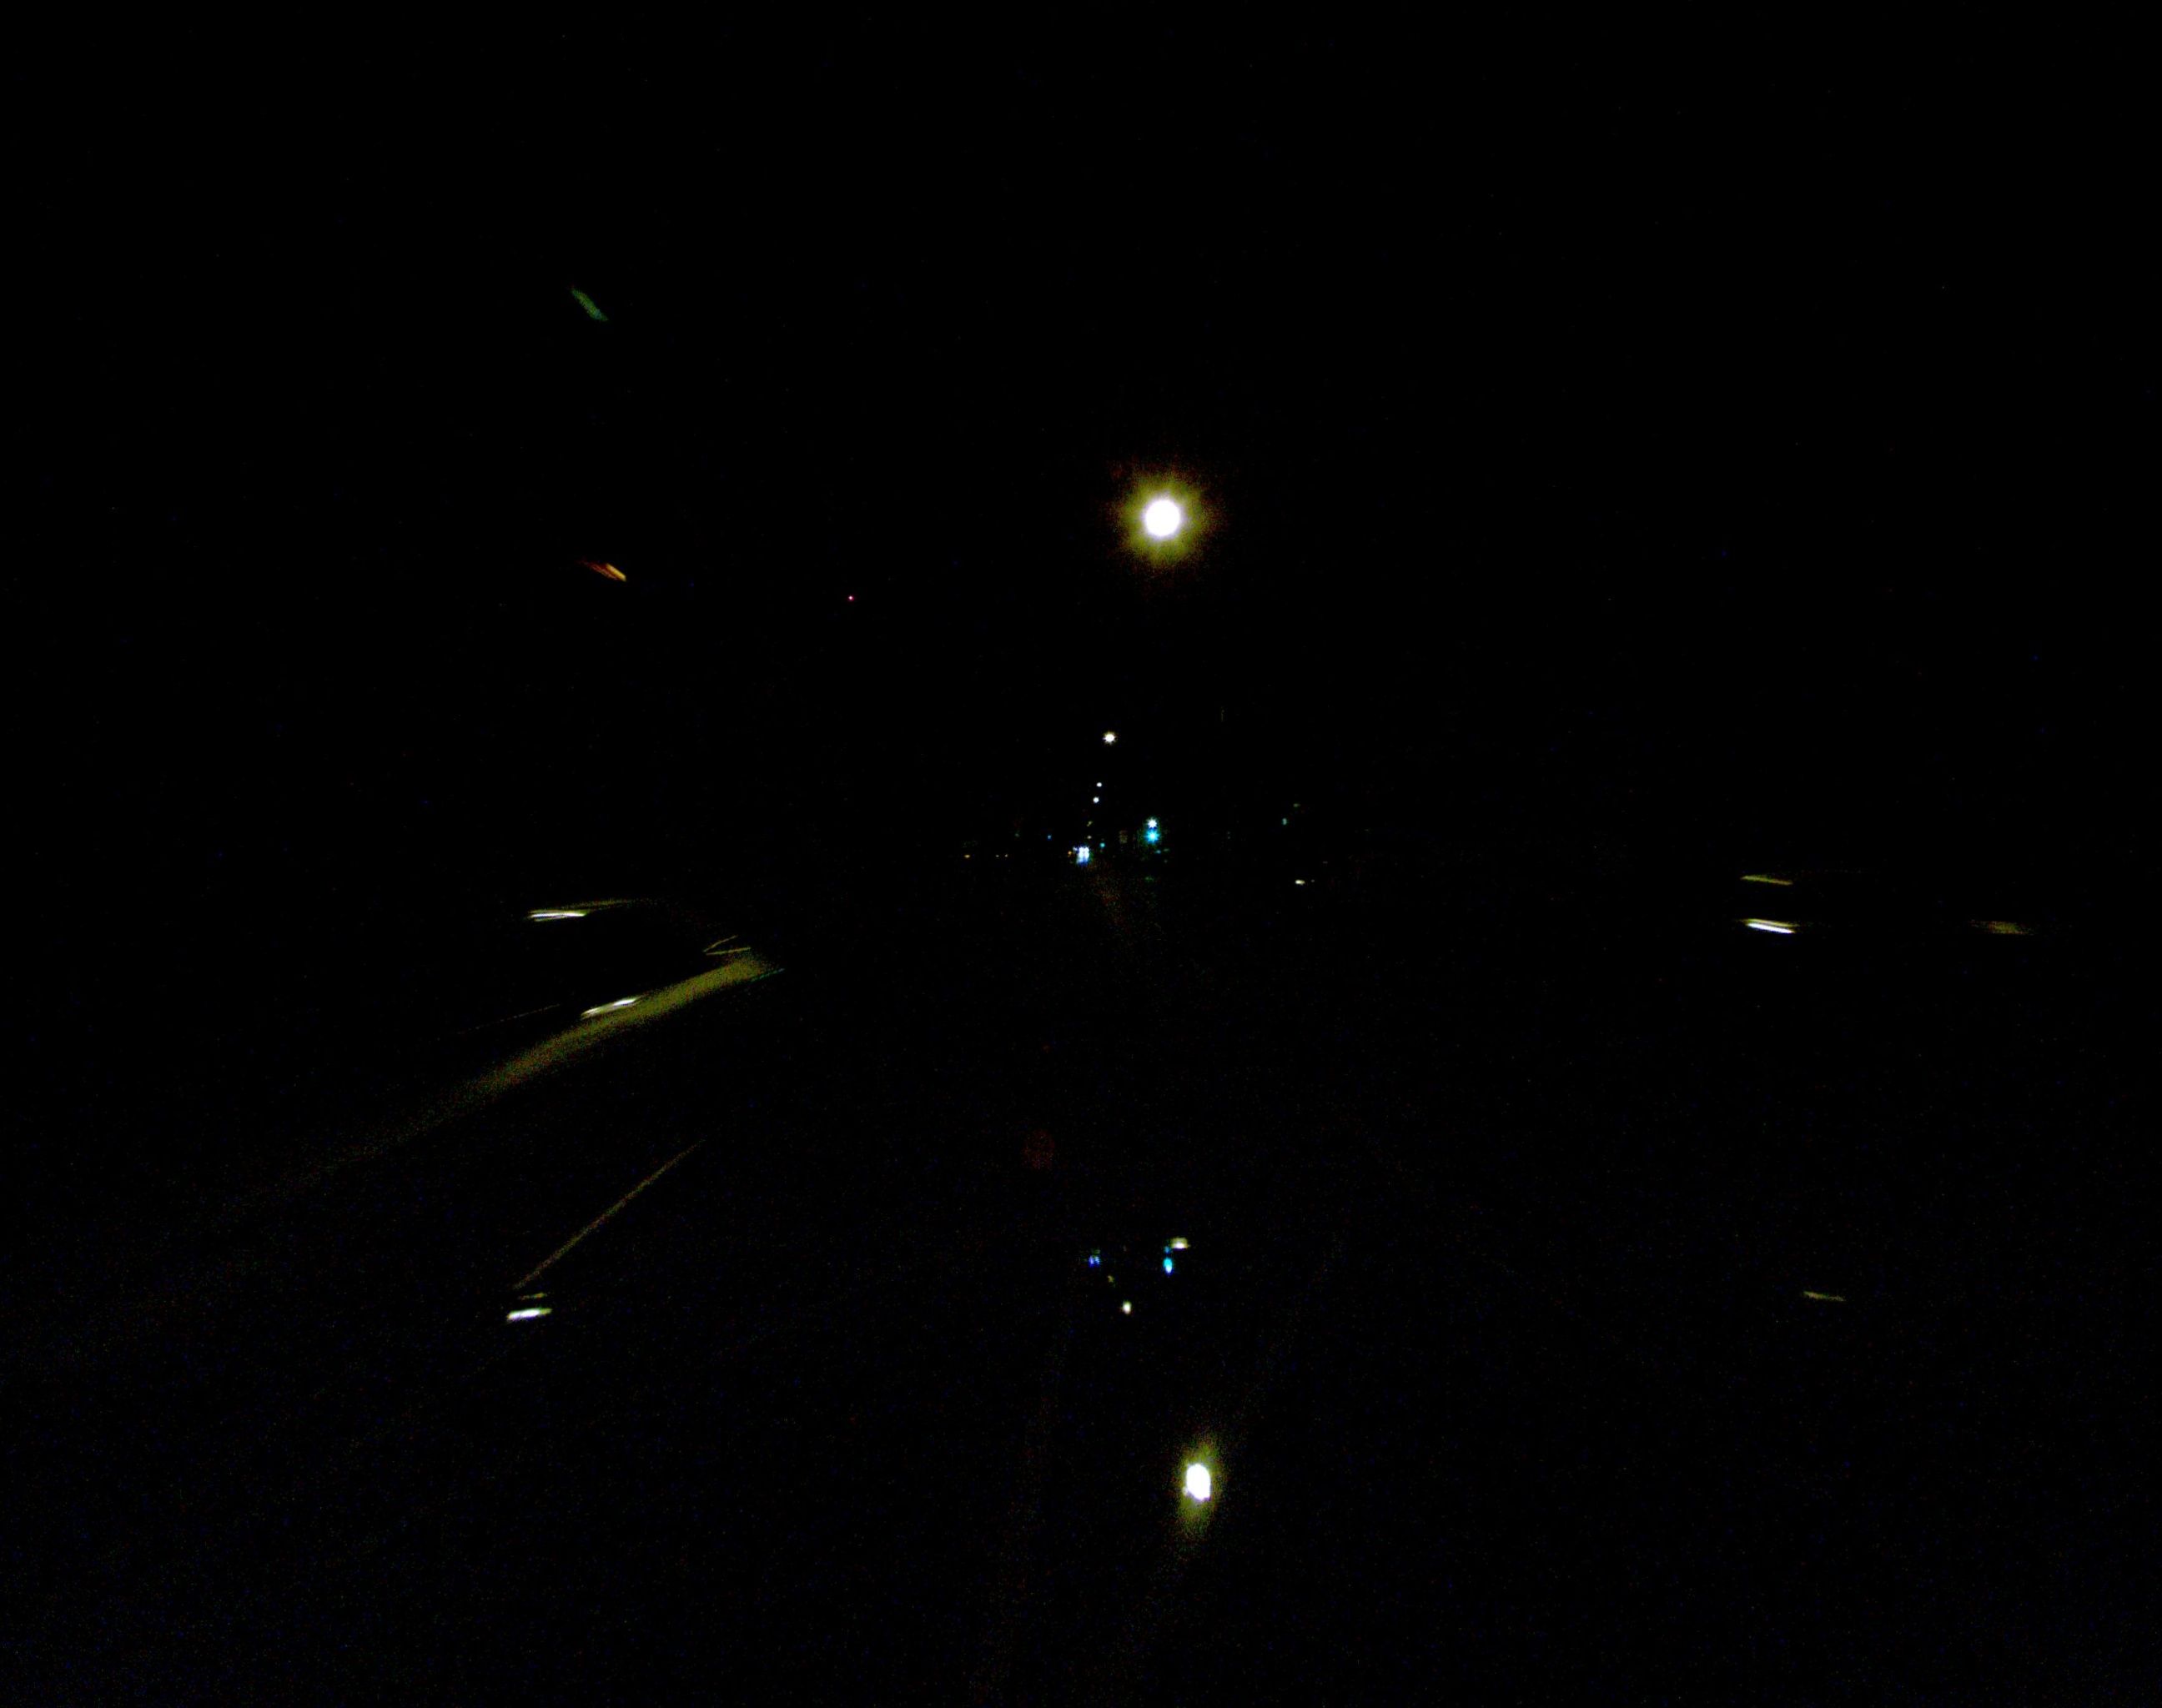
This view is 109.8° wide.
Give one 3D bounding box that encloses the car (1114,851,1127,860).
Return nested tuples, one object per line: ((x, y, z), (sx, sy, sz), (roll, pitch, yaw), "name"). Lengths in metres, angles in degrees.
((6.496, 0.272, 125.200), (1.731, 1.477, 4.290), (-1, 0, -1), "car")

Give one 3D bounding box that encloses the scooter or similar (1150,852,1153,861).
((9.192, 0.294, 99.449), (0.332, 1.218, 1.335), (-1, 1, 2), "scooter or similar")

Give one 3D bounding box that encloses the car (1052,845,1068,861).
((-2.513, -0.129, 90.166), (1.916, 1.816, 4.899), (0, 0, -2), "car")

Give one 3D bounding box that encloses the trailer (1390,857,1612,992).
((6.013, 0.902, 11.346), (1.641, 1.630, 3.440), (-1, 1, 5), "trailer")

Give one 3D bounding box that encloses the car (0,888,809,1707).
((-2.670, 0.988, 2.485), (1.850, 1.409, 4.644), (3, 1, 0), "car")

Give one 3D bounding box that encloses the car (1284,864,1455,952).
((5.727, 0.989, 15.720), (1.819, 1.476, 4.347), (-1, 0, -1), "car")

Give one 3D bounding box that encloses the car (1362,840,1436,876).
((15.338, 0.152, 36.917), (1.761, 1.529, 4.186), (-3, 1, 0), "car")

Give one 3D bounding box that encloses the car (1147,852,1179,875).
((5.830, 0.660, 54.113), (1.652, 1.506, 3.700), (-1, 1, -3), "car")

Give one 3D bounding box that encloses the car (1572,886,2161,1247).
((5.670, 1.023, 5.050), (1.840, 1.438, 4.544), (0, 0, -1), "car")

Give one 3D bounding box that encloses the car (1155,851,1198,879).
((5.980, 0.670, 47.851), (1.853, 1.640, 4.670), (-1, 0, -3), "car")

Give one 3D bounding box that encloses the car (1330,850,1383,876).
((15.201, 0.465, 42.052), (1.560, 1.309, 3.561), (-1, 1, -1), "car")
